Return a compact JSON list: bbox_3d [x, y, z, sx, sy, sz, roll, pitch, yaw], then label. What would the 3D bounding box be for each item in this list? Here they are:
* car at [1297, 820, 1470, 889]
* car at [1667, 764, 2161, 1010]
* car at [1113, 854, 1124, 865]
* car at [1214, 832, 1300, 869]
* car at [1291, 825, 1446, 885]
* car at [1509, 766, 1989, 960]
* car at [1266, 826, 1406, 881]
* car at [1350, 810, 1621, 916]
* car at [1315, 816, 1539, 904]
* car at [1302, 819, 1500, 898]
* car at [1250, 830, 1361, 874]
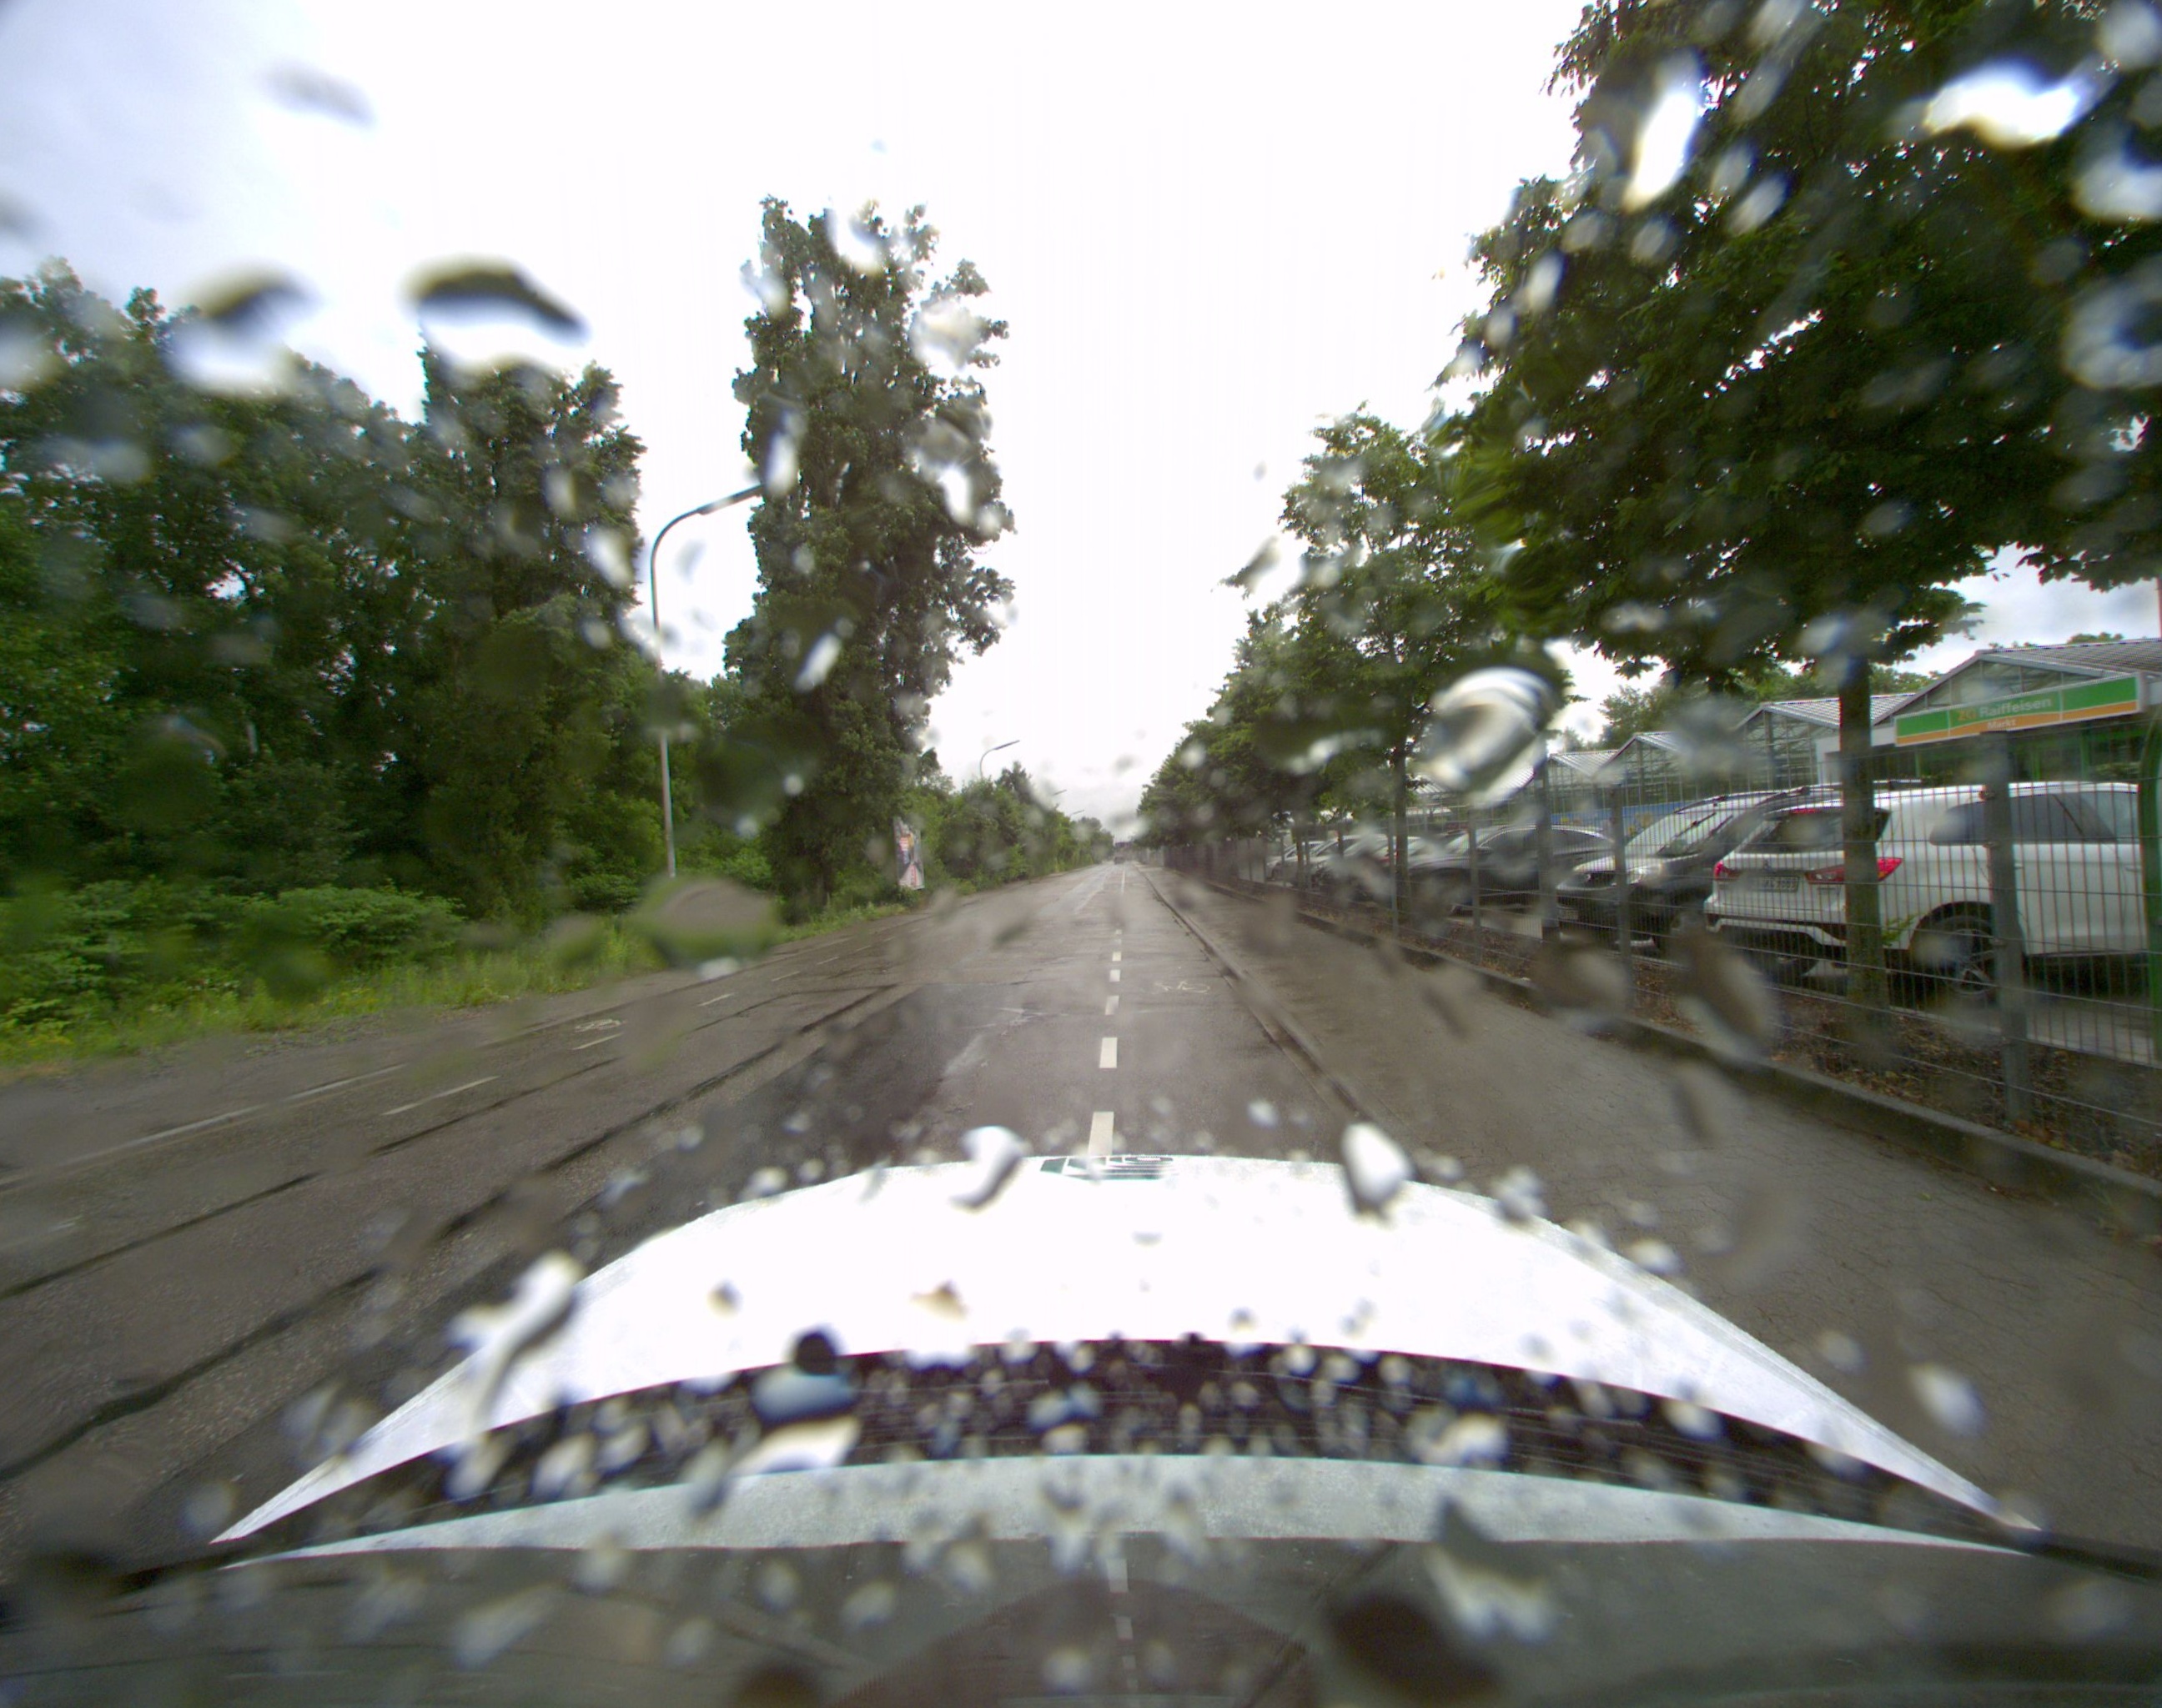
[{"bbox_3d":[8.535,0.017,23.195,4.201,1.618,1.821,-4,0,-5],"label":"car"},{"bbox_3d":[7.578,0.168,6.645,4.192,1.601,1.825,-4,0,2],"label":"car"},{"bbox_3d":[7.420,1.141,162.531,1.986,1.910,4.203,-4,-1,2],"label":"car"},{"bbox_3d":[9.528,-0.202,44.236,4.195,1.677,1.824,-4,0,0],"label":"car"},{"bbox_3d":[8.986,0.022,25.654,4.201,1.534,1.821,-4,0,-5],"label":"car"},{"bbox_3d":[7.604,0.076,9.533,4.201,1.794,1.821,-4,0,-5],"label":"car"},{"bbox_3d":[8.802,-0.010,28.323,4.201,1.588,1.821,-4,0,-5],"label":"car"},{"bbox_3d":[7.536,0.154,15.414,4.201,1.618,1.821,-4,0,-5],"label":"car"},{"bbox_3d":[7.663,0.117,18.286,4.201,1.618,1.821,-4,0,-5],"label":"car"},{"bbox_3d":[7.939,0.095,20.419,4.201,1.618,1.821,-4,0,-5],"label":"car"},{"bbox_3d":[9.553,-0.088,34.901,4.195,1.588,1.824,-4,0,0],"label":"car"}]
